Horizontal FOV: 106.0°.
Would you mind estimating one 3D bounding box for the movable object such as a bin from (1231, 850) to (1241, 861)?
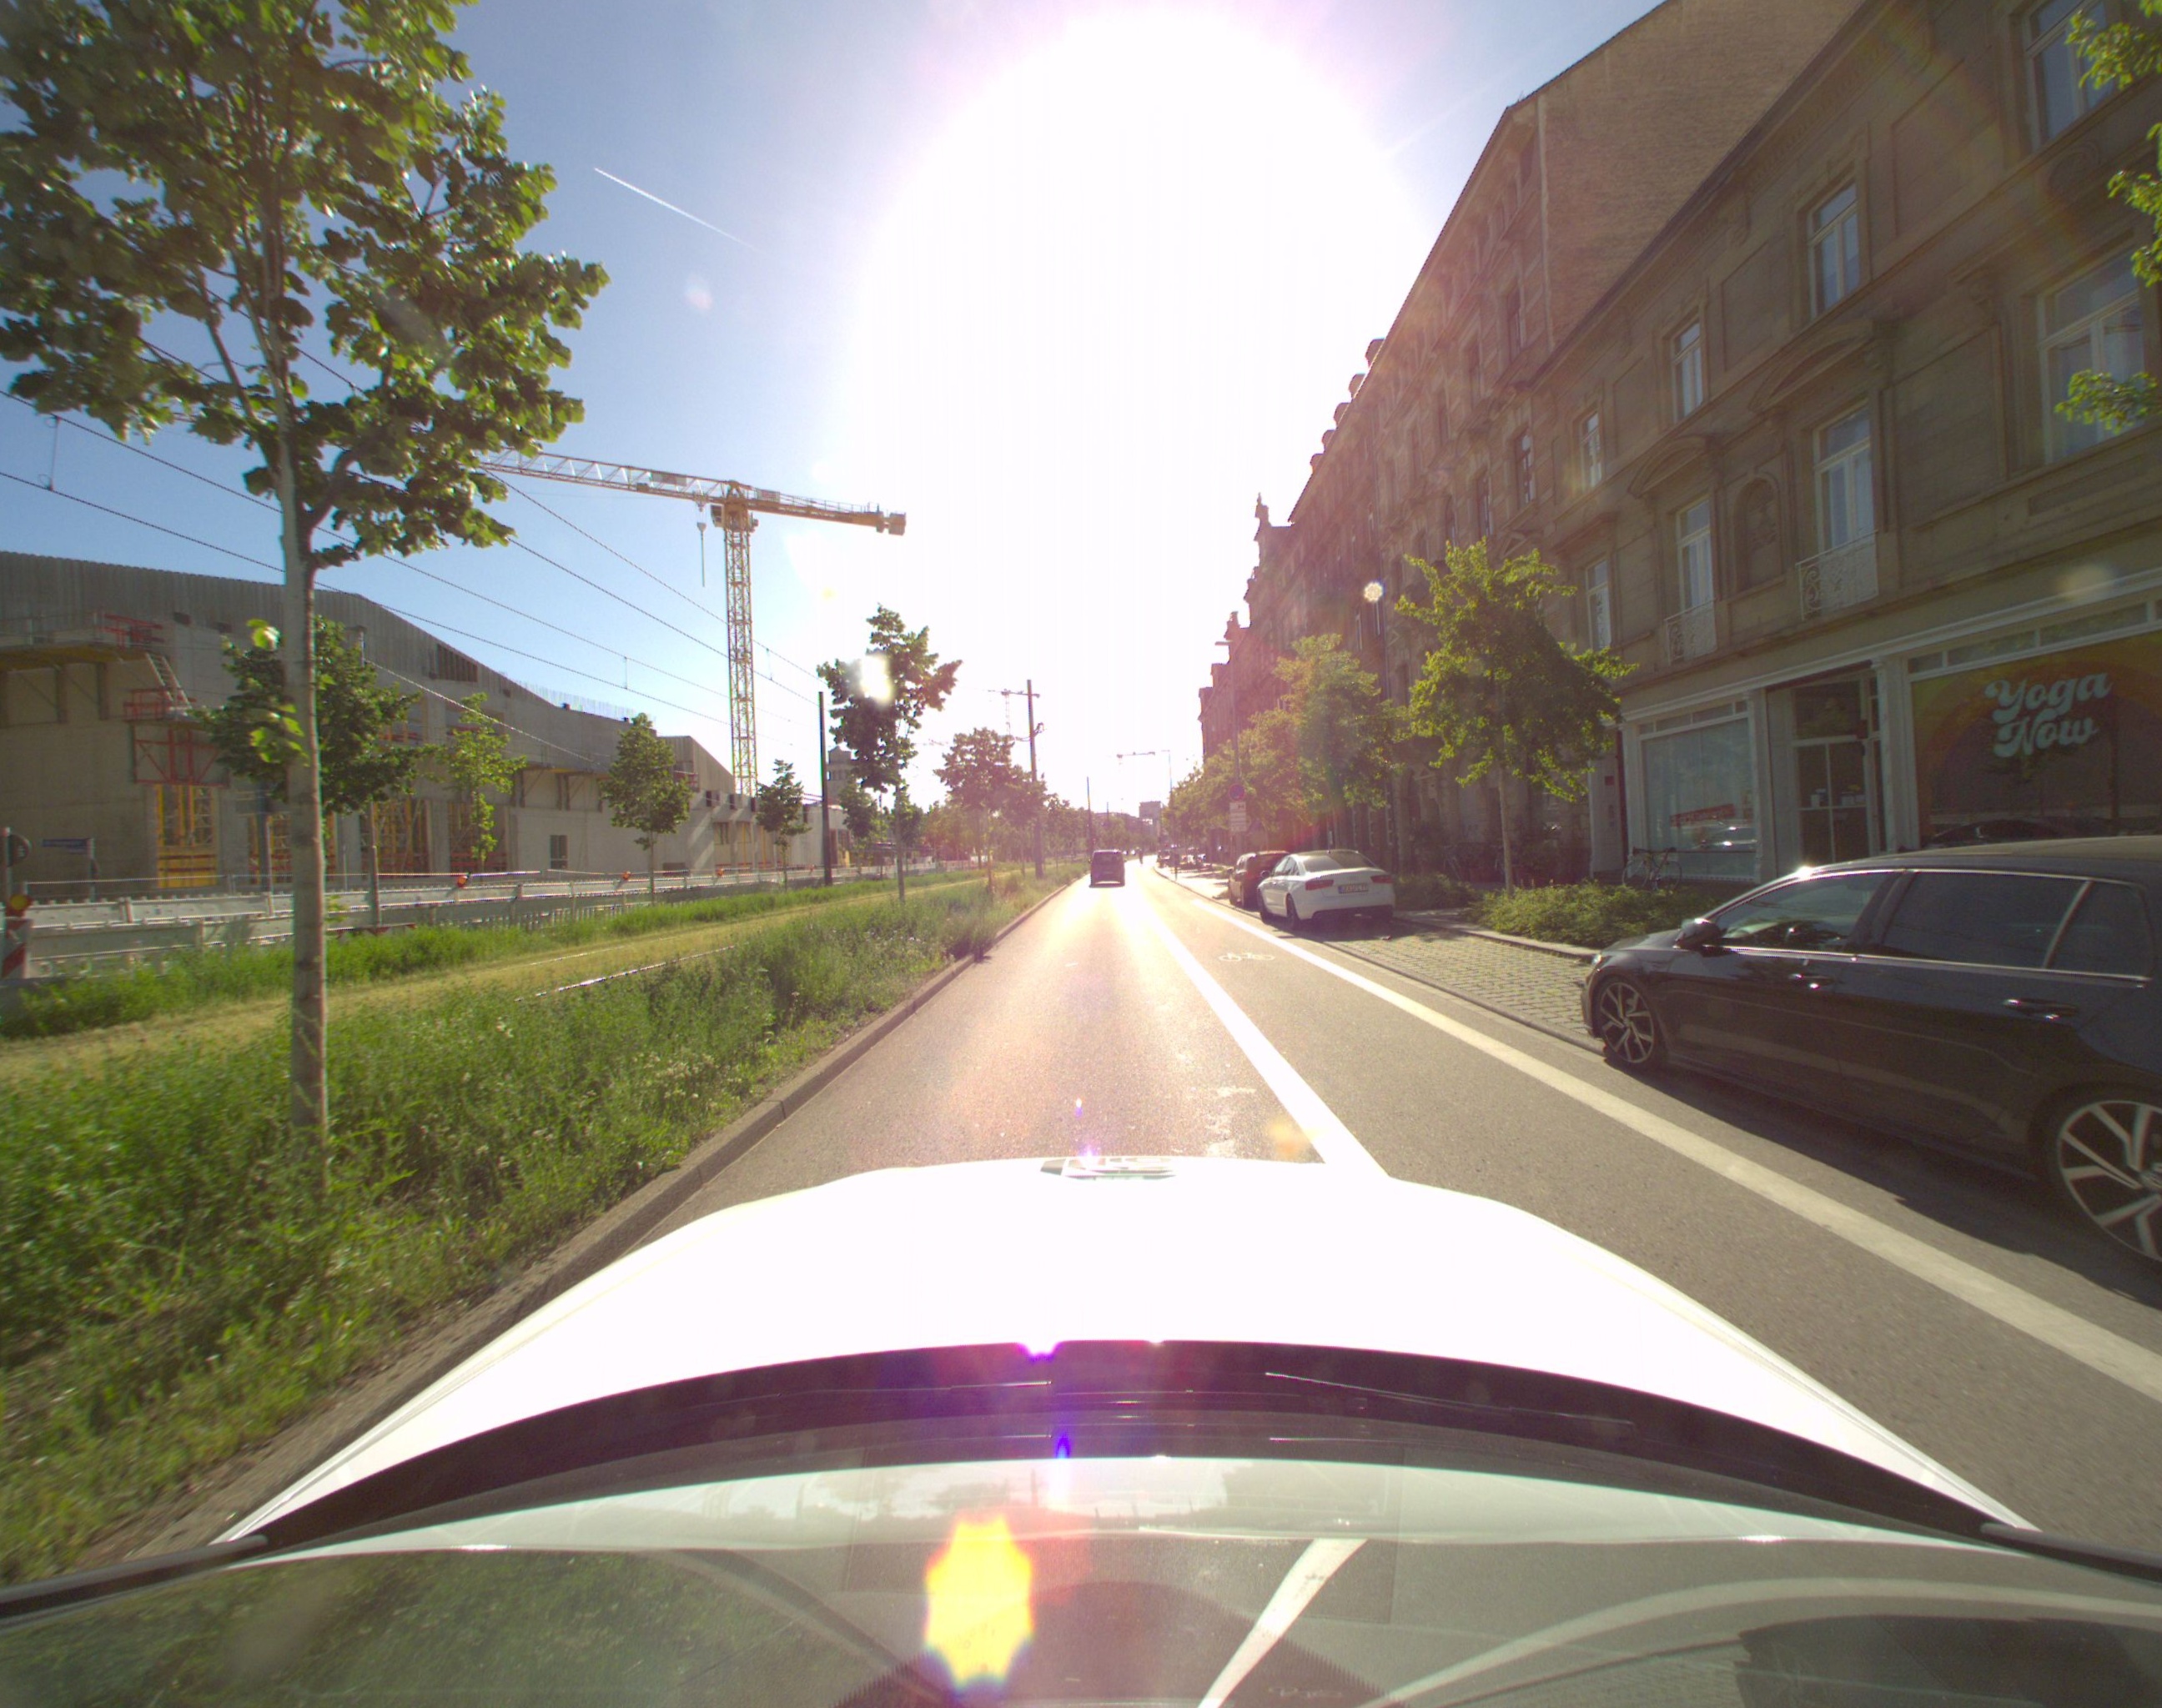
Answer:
[{"bbox_3d":[13.168,0.131,69.147,0.602,0.916,0.650,-3,0,-3],"label":"movable object such as a bin"}]

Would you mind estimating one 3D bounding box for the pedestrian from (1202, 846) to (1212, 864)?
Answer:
[{"bbox_3d":[12.498,0.123,80.700,0.841,1.742,0.887,-4,-1,2],"label":"pedestrian"}]

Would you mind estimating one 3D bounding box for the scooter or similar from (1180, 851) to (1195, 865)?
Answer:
[{"bbox_3d":[9.330,0.372,71.434,1.214,1.106,0.784,-4,0,4],"label":"scooter or similar"}]

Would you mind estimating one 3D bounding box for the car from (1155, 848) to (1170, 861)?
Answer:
[{"bbox_3d":[11.739,0.091,116.437,1.978,1.638,4.197,-2,-1,7],"label":"car"}]

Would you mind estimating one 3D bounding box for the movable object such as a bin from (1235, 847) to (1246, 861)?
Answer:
[{"bbox_3d":[12.904,0.019,65.967,0.723,1.098,0.747,-3,0,-3],"label":"movable object such as a bin"}]

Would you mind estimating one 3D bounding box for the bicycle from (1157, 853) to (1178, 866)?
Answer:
[{"bbox_3d":[8.034,0.518,75.854,1.821,1.078,0.664,-6,-1,-5],"label":"bicycle"}]

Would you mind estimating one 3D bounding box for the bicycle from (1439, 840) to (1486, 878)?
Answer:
[{"bbox_3d":[11.654,0.138,24.960,0.479,1.090,2.058,-4,0,2],"label":"bicycle"}]

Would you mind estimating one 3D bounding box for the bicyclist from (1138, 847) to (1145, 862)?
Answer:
[{"bbox_3d":[6.707,0.084,89.951,0.680,1.584,0.840,-2,0,1],"label":"bicyclist"}]

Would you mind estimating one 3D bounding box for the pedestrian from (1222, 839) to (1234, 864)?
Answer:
[{"bbox_3d":[12.217,-0.180,67.737,0.814,2.014,1.046,-2,-3,2],"label":"pedestrian"}]

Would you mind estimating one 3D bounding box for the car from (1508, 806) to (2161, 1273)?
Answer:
[{"bbox_3d":[4.365,0.592,4.277,1.760,1.477,4.447,-5,-1,-1],"label":"car"}]

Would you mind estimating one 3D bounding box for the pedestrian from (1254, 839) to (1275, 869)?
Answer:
[{"bbox_3d":[10.982,-0.015,48.720,0.992,1.731,0.866,-2,-1,1],"label":"pedestrian"}]

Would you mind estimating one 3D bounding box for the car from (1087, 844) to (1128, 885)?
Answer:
[{"bbox_3d":[1.382,0.509,42.683,1.986,2.013,4.001,-2,0,1],"label":"car"}]

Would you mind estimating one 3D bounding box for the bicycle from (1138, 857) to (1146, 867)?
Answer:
[{"bbox_3d":[6.755,0.905,89.958,0.698,1.091,2.278,-3,0,2],"label":"bicycle"}]

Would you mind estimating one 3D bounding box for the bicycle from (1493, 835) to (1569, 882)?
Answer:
[{"bbox_3d":[11.370,0.104,20.653,0.718,1.090,2.199,-4,0,2],"label":"bicycle"}]

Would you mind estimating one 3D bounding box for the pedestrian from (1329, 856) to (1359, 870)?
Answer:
[{"bbox_3d":[12.084,0.395,37.438,0.770,0.553,2.008,-3,0,2],"label":"pedestrian"}]

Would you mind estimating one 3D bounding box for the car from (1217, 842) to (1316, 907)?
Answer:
[{"bbox_3d":[5.273,0.563,23.714,1.877,1.569,4.221,-5,-1,1],"label":"car"}]

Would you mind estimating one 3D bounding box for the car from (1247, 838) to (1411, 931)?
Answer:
[{"bbox_3d":[4.908,0.542,16.982,1.944,1.495,5.107,-4,0,2],"label":"car"}]

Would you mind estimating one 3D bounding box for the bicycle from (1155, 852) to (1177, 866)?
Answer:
[{"bbox_3d":[8.103,0.490,77.370,1.912,1.121,0.664,-6,-1,-5],"label":"bicycle"}]

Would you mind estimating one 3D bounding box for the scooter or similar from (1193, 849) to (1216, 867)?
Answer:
[{"bbox_3d":[9.192,0.287,60.686,1.470,1.216,0.601,-5,1,-2],"label":"scooter or similar"}]

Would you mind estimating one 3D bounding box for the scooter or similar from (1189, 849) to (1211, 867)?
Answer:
[{"bbox_3d":[8.995,0.303,61.451,1.473,1.216,0.600,-5,1,-9],"label":"scooter or similar"}]

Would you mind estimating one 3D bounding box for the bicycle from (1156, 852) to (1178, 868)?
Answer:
[{"bbox_3d":[7.855,0.561,74.322,1.875,1.233,0.499,-5,-1,-4],"label":"bicycle"}]

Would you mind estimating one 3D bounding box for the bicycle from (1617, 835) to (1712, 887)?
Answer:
[{"bbox_3d":[11.454,0.121,16.066,0.445,0.945,2.013,-2,0,2],"label":"bicycle"}]

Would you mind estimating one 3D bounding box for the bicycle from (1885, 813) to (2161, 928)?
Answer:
[{"bbox_3d":[10.936,0.171,9.486,0.873,1.104,2.181,-6,0,-1],"label":"bicycle"}]
